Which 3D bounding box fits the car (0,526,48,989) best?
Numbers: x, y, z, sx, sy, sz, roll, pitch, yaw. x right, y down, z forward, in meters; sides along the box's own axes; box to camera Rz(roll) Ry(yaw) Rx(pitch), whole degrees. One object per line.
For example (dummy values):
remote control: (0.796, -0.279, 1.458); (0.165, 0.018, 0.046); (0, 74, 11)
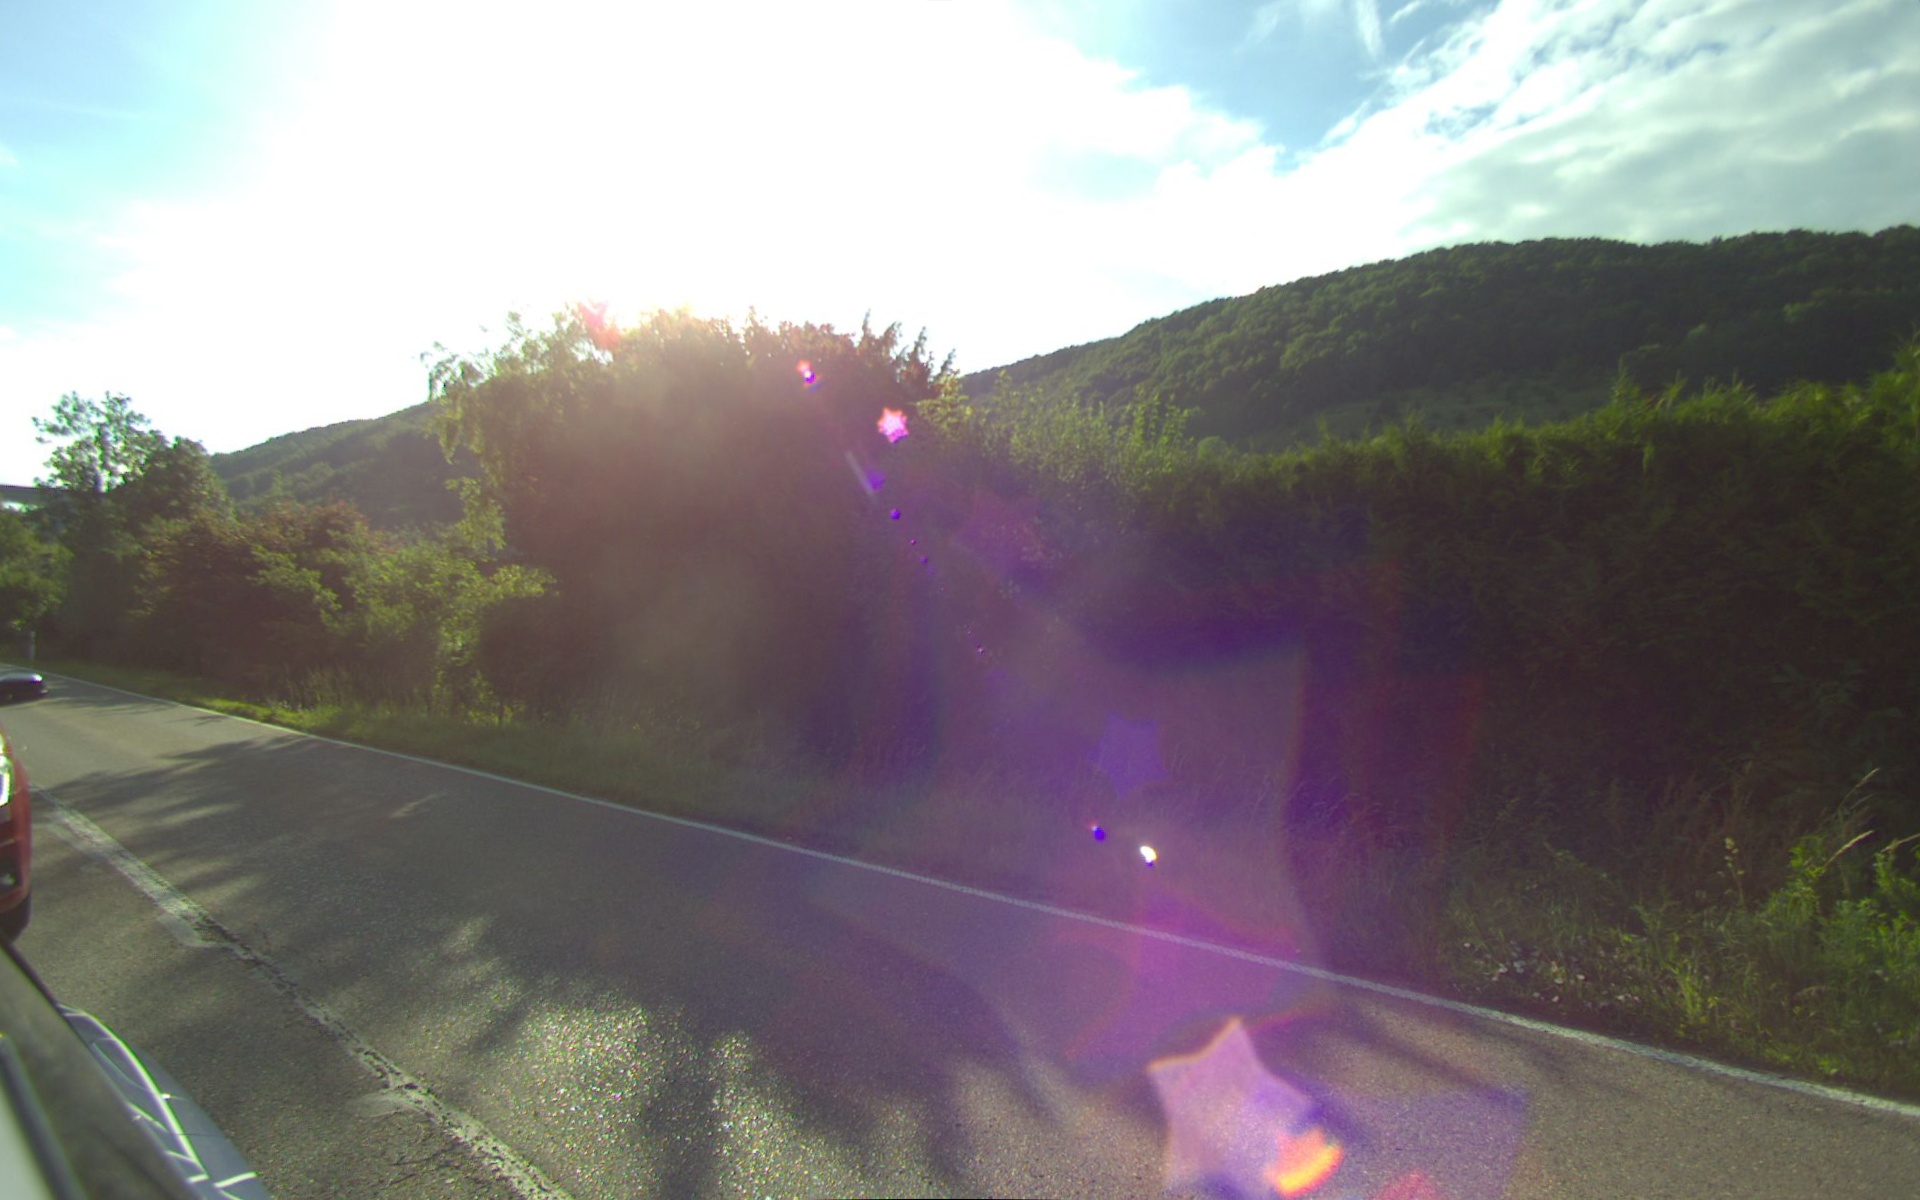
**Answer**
car: (-5.872, 0.666, 4.852); (4.286, 1.823, 1.731); (-1, 1, 42)
